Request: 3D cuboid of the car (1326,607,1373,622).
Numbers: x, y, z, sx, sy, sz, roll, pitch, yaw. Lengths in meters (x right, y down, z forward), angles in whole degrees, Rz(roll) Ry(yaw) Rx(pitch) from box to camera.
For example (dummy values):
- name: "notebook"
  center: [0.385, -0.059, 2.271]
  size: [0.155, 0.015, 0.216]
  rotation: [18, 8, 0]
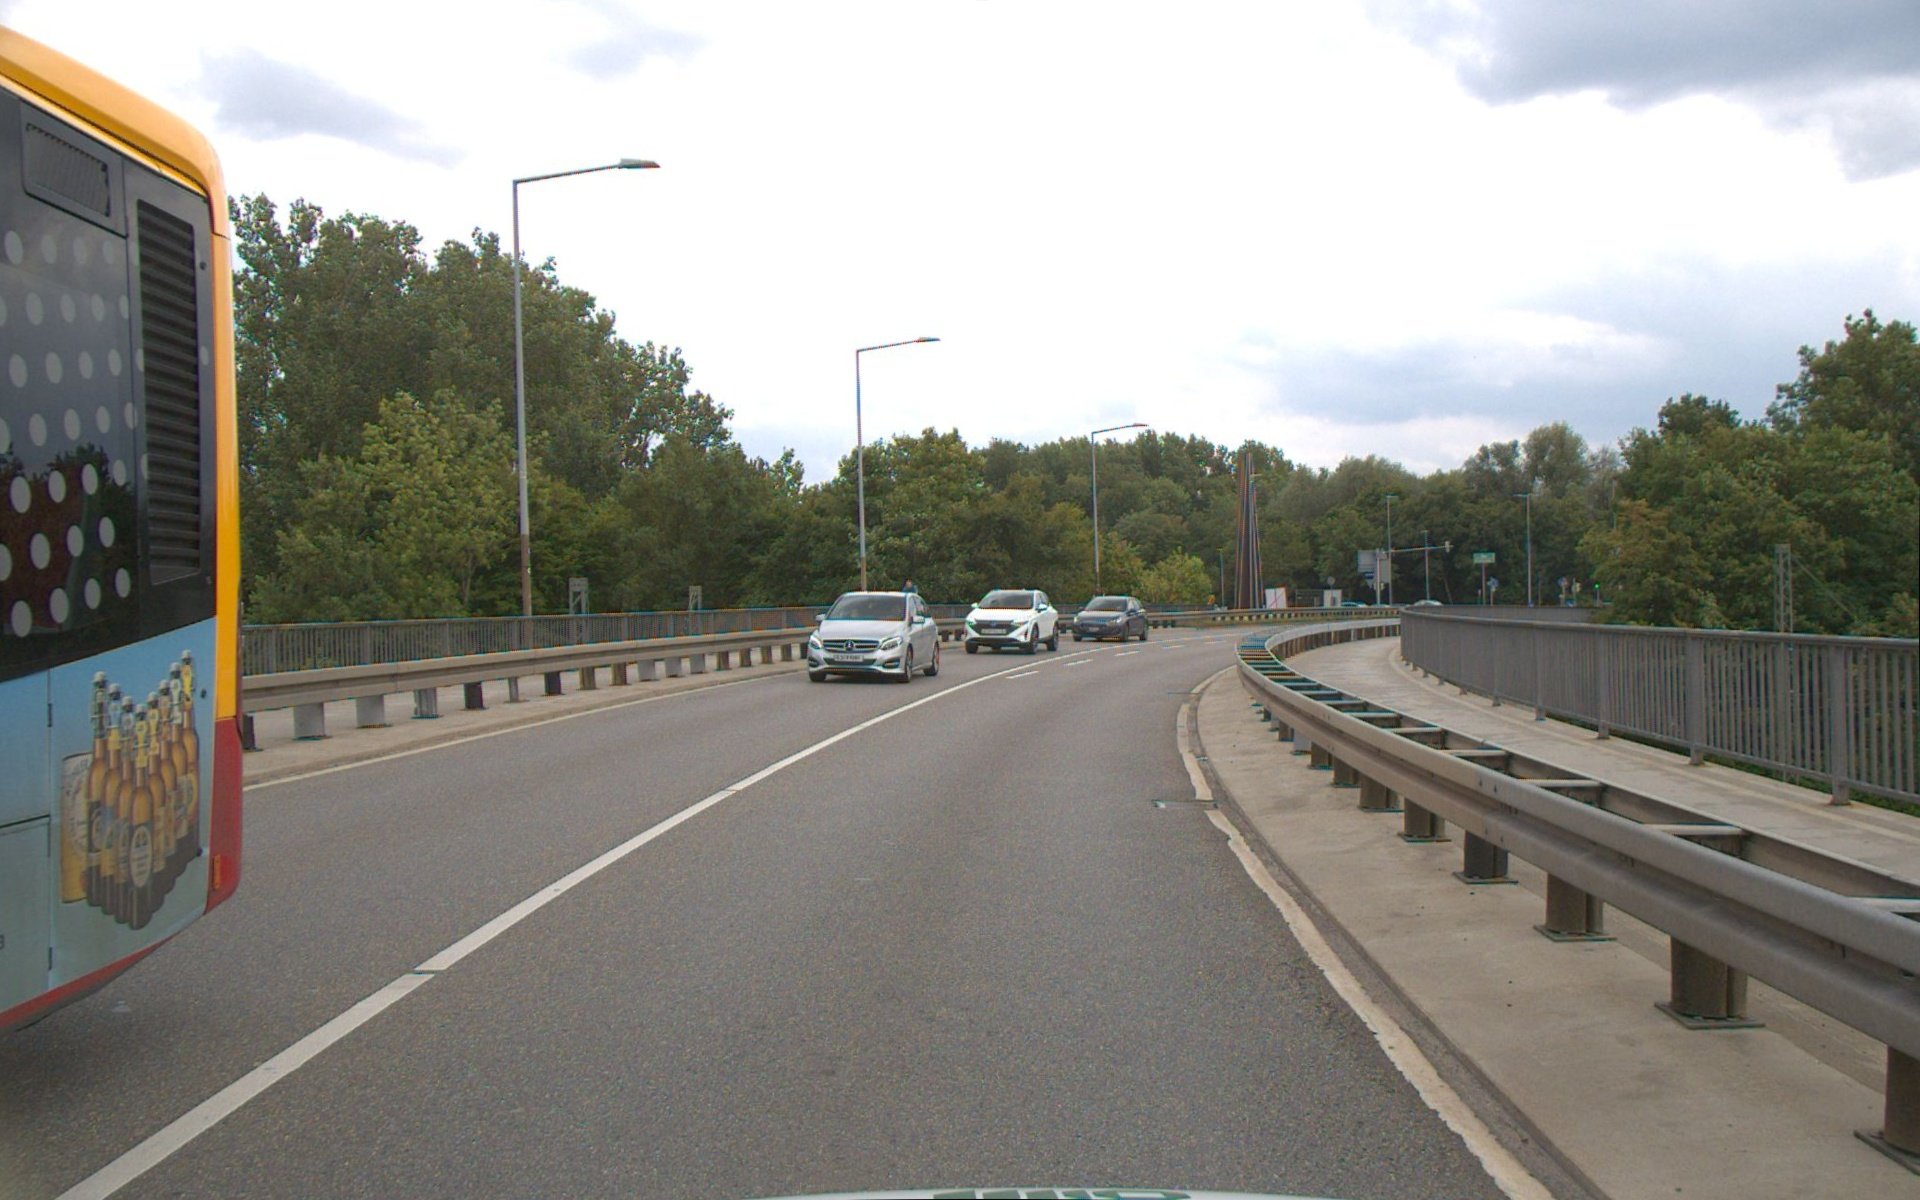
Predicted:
- name: "car"
  center: [34.622, 1.269, 146.988]
  size: [1.975, 1.333, 3.763]
  rotation: [1, 0, -33]

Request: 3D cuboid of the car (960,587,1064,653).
- name: "car"
  center: [1.443, 0.494, 43.400]
  size: [1.899, 1.621, 4.778]
  rotation: [0, 0, 12]

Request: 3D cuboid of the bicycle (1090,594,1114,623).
- name: "bicycle"
  center: [6.016, 0.373, 70.136]
  size: [0.621, 1.194, 1.907]
  rotation: [0, 0, 17]

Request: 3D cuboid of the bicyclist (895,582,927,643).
- name: "bicyclist"
  center: [-1.480, 0.368, 50.505]
  size: [0.830, 1.840, 0.797]
  rotation: [0, 0, 9]

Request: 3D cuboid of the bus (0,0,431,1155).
- name: "bus"
  center: [-3.814, -0.308, 0.769]
  size: [2.970, 3.290, 12.950]
  rotation: [0, 0, 0]

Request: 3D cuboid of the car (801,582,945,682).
- name: "car"
  center: [-1.471, 0.532, 29.726]
  size: [1.779, 1.648, 4.401]
  rotation: [0, 0, 8]

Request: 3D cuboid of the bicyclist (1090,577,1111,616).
- name: "bicyclist"
  center: [5.948, -0.152, 70.113]
  size: [0.755, 1.660, 0.649]
  rotation: [0, -2, 19]

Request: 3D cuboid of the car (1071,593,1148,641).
- name: "car"
  center: [4.984, 0.533, 54.634]
  size: [1.770, 1.503, 4.385]
  rotation: [0, 0, 15]
